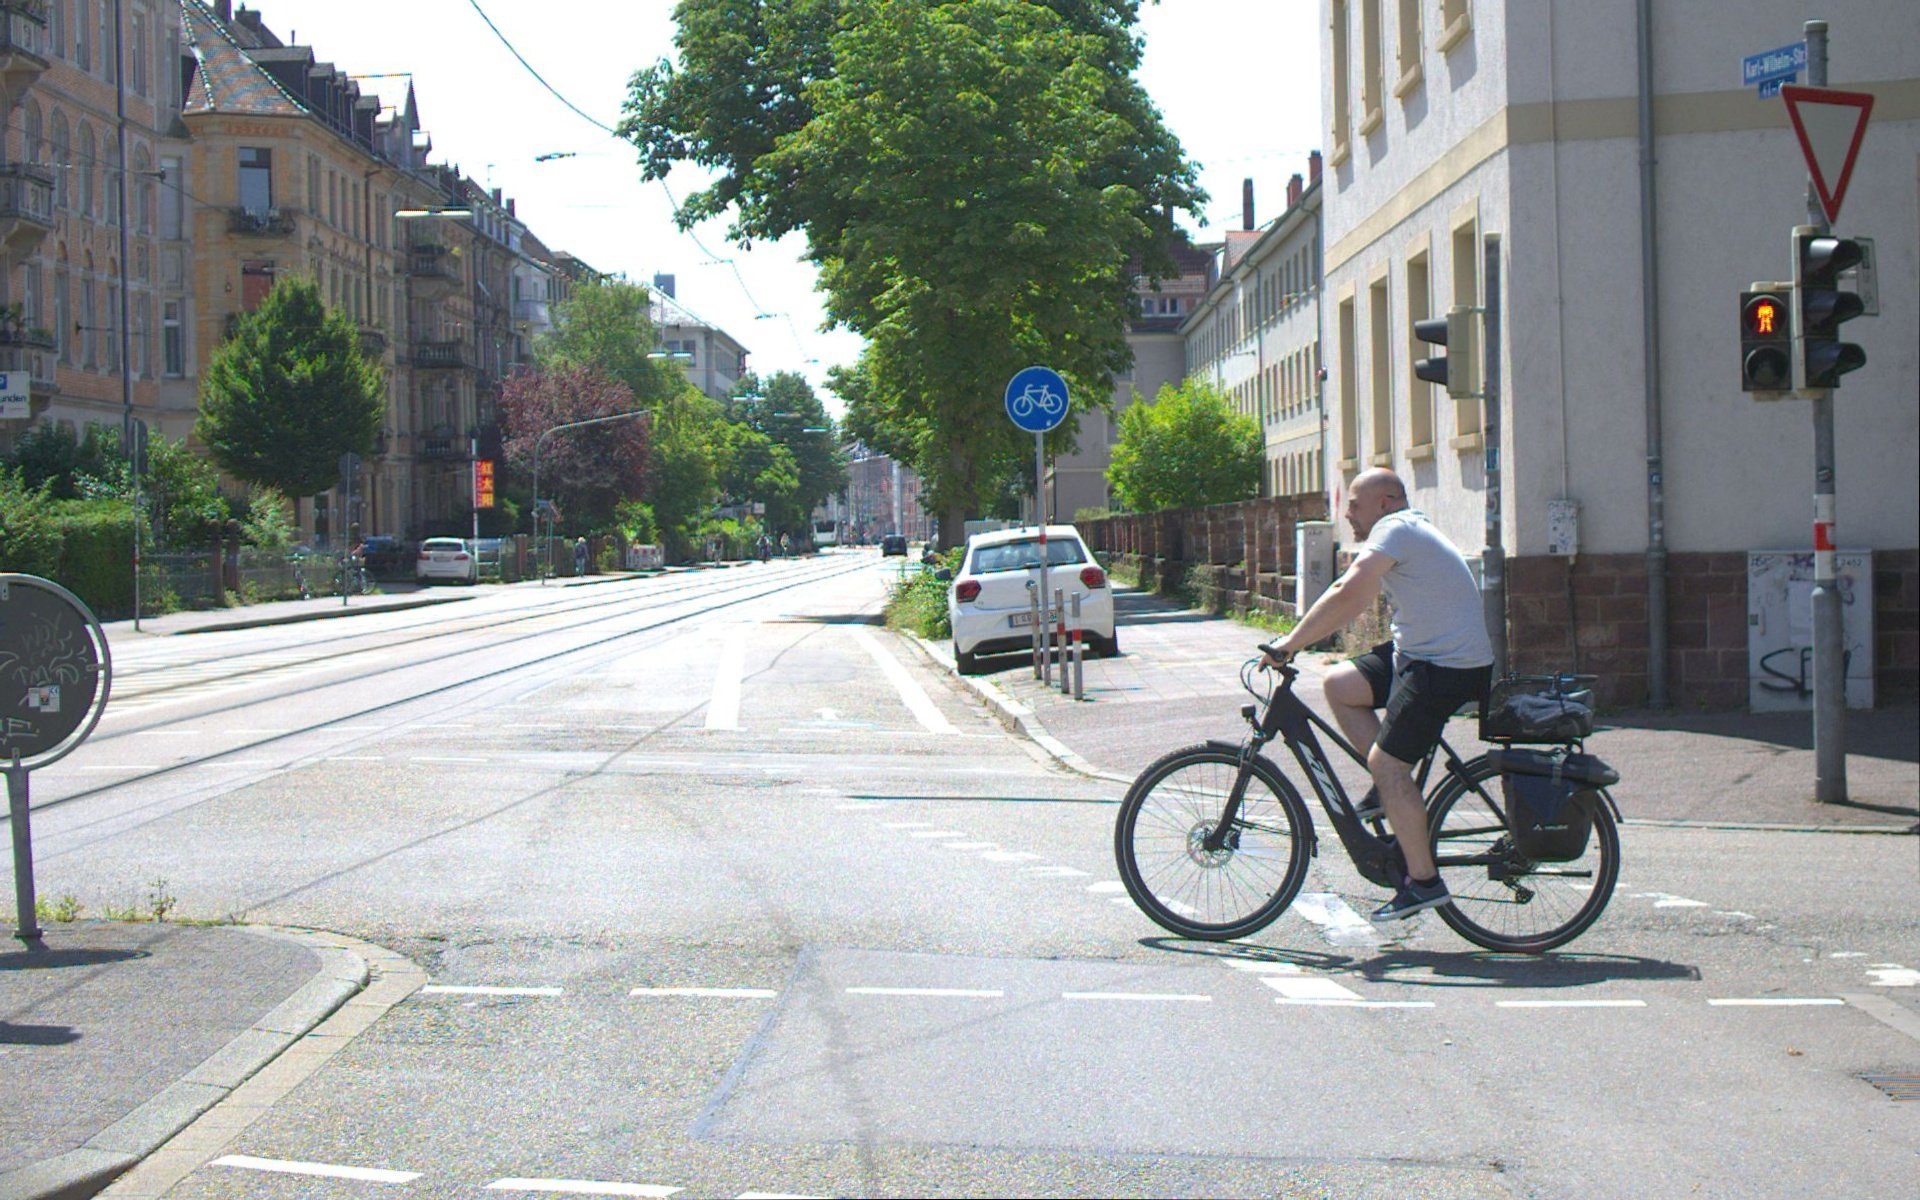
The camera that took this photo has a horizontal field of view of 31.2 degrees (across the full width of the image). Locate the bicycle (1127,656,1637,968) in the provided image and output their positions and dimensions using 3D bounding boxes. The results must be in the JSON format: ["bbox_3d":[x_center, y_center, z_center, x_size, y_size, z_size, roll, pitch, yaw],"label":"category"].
[{"bbox_3d":[1.522,0.741,12.343,1.761,1.053,0.700,0,1,10],"label":"bicycle"}]

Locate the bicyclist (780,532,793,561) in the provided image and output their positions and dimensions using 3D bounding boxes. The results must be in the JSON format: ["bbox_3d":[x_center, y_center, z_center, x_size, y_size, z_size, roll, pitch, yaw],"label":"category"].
[{"bbox_3d":[-11.062,-3.399,219.163,0.727,1.812,1.079,1,0,1],"label":"bicyclist"}]

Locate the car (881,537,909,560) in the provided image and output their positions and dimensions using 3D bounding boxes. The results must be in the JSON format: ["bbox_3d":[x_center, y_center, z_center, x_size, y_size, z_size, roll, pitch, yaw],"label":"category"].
[{"bbox_3d":[-4.330,-3.415,228.331,1.825,1.514,4.000,1,1,-1],"label":"car"}]

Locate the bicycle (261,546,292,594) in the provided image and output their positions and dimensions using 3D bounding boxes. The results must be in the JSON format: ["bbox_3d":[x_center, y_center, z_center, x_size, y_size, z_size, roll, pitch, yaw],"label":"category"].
[{"bbox_3d":[-15.904,-0.705,80.025,0.677,1.061,1.919,-1,1,-11],"label":"bicycle"}]

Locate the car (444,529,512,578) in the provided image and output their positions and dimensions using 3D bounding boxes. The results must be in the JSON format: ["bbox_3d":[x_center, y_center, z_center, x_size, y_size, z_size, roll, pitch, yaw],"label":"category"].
[{"bbox_3d":[-17.334,-1.671,123.829,1.919,1.709,4.000,1,1,-1],"label":"car"}]

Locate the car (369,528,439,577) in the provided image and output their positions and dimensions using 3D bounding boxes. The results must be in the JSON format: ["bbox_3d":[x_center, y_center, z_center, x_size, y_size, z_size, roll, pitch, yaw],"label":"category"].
[{"bbox_3d":[-20.020,-1.709,123.902,1.919,1.709,4.000,1,1,-1],"label":"car"}]

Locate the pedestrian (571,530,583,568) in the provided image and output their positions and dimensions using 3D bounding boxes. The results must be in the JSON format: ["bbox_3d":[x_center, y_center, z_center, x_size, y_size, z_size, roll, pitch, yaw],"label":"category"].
[{"bbox_3d":[-14.956,-1.989,134.236,0.406,1.456,0.436,-1,1,-1],"label":"pedestrian"}]

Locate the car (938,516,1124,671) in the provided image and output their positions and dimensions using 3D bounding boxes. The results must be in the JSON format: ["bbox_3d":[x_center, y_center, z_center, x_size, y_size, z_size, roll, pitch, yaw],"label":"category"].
[{"bbox_3d":[0.721,-0.086,37.330,1.815,1.511,4.000,-3,1,-1],"label":"car"}]

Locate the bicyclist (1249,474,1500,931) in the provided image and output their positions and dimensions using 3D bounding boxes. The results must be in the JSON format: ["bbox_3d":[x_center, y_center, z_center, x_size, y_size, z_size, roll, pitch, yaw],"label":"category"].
[{"bbox_3d":[1.500,0.354,12.356,0.847,1.587,0.700,0,1,10],"label":"bicyclist"}]

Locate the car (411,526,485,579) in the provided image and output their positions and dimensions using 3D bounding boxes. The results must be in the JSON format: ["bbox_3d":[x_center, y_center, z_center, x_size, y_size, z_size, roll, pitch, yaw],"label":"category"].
[{"bbox_3d":[-17.190,-1.585,115.565,1.919,1.709,4.000,1,1,-1],"label":"car"}]

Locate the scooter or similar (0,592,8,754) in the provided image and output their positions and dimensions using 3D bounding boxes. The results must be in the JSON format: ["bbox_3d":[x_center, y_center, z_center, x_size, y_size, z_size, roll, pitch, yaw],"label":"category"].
[{"bbox_3d":[-7.446,0.514,24.392,1.201,1.151,0.558,1,0,4],"label":"scooter or similar"}]

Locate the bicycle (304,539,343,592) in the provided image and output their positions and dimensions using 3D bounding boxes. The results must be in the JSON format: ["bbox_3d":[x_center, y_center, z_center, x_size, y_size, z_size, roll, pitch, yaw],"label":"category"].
[{"bbox_3d":[-15.661,-0.855,84.668,0.677,1.274,1.919,-1,1,-3],"label":"bicycle"}]
